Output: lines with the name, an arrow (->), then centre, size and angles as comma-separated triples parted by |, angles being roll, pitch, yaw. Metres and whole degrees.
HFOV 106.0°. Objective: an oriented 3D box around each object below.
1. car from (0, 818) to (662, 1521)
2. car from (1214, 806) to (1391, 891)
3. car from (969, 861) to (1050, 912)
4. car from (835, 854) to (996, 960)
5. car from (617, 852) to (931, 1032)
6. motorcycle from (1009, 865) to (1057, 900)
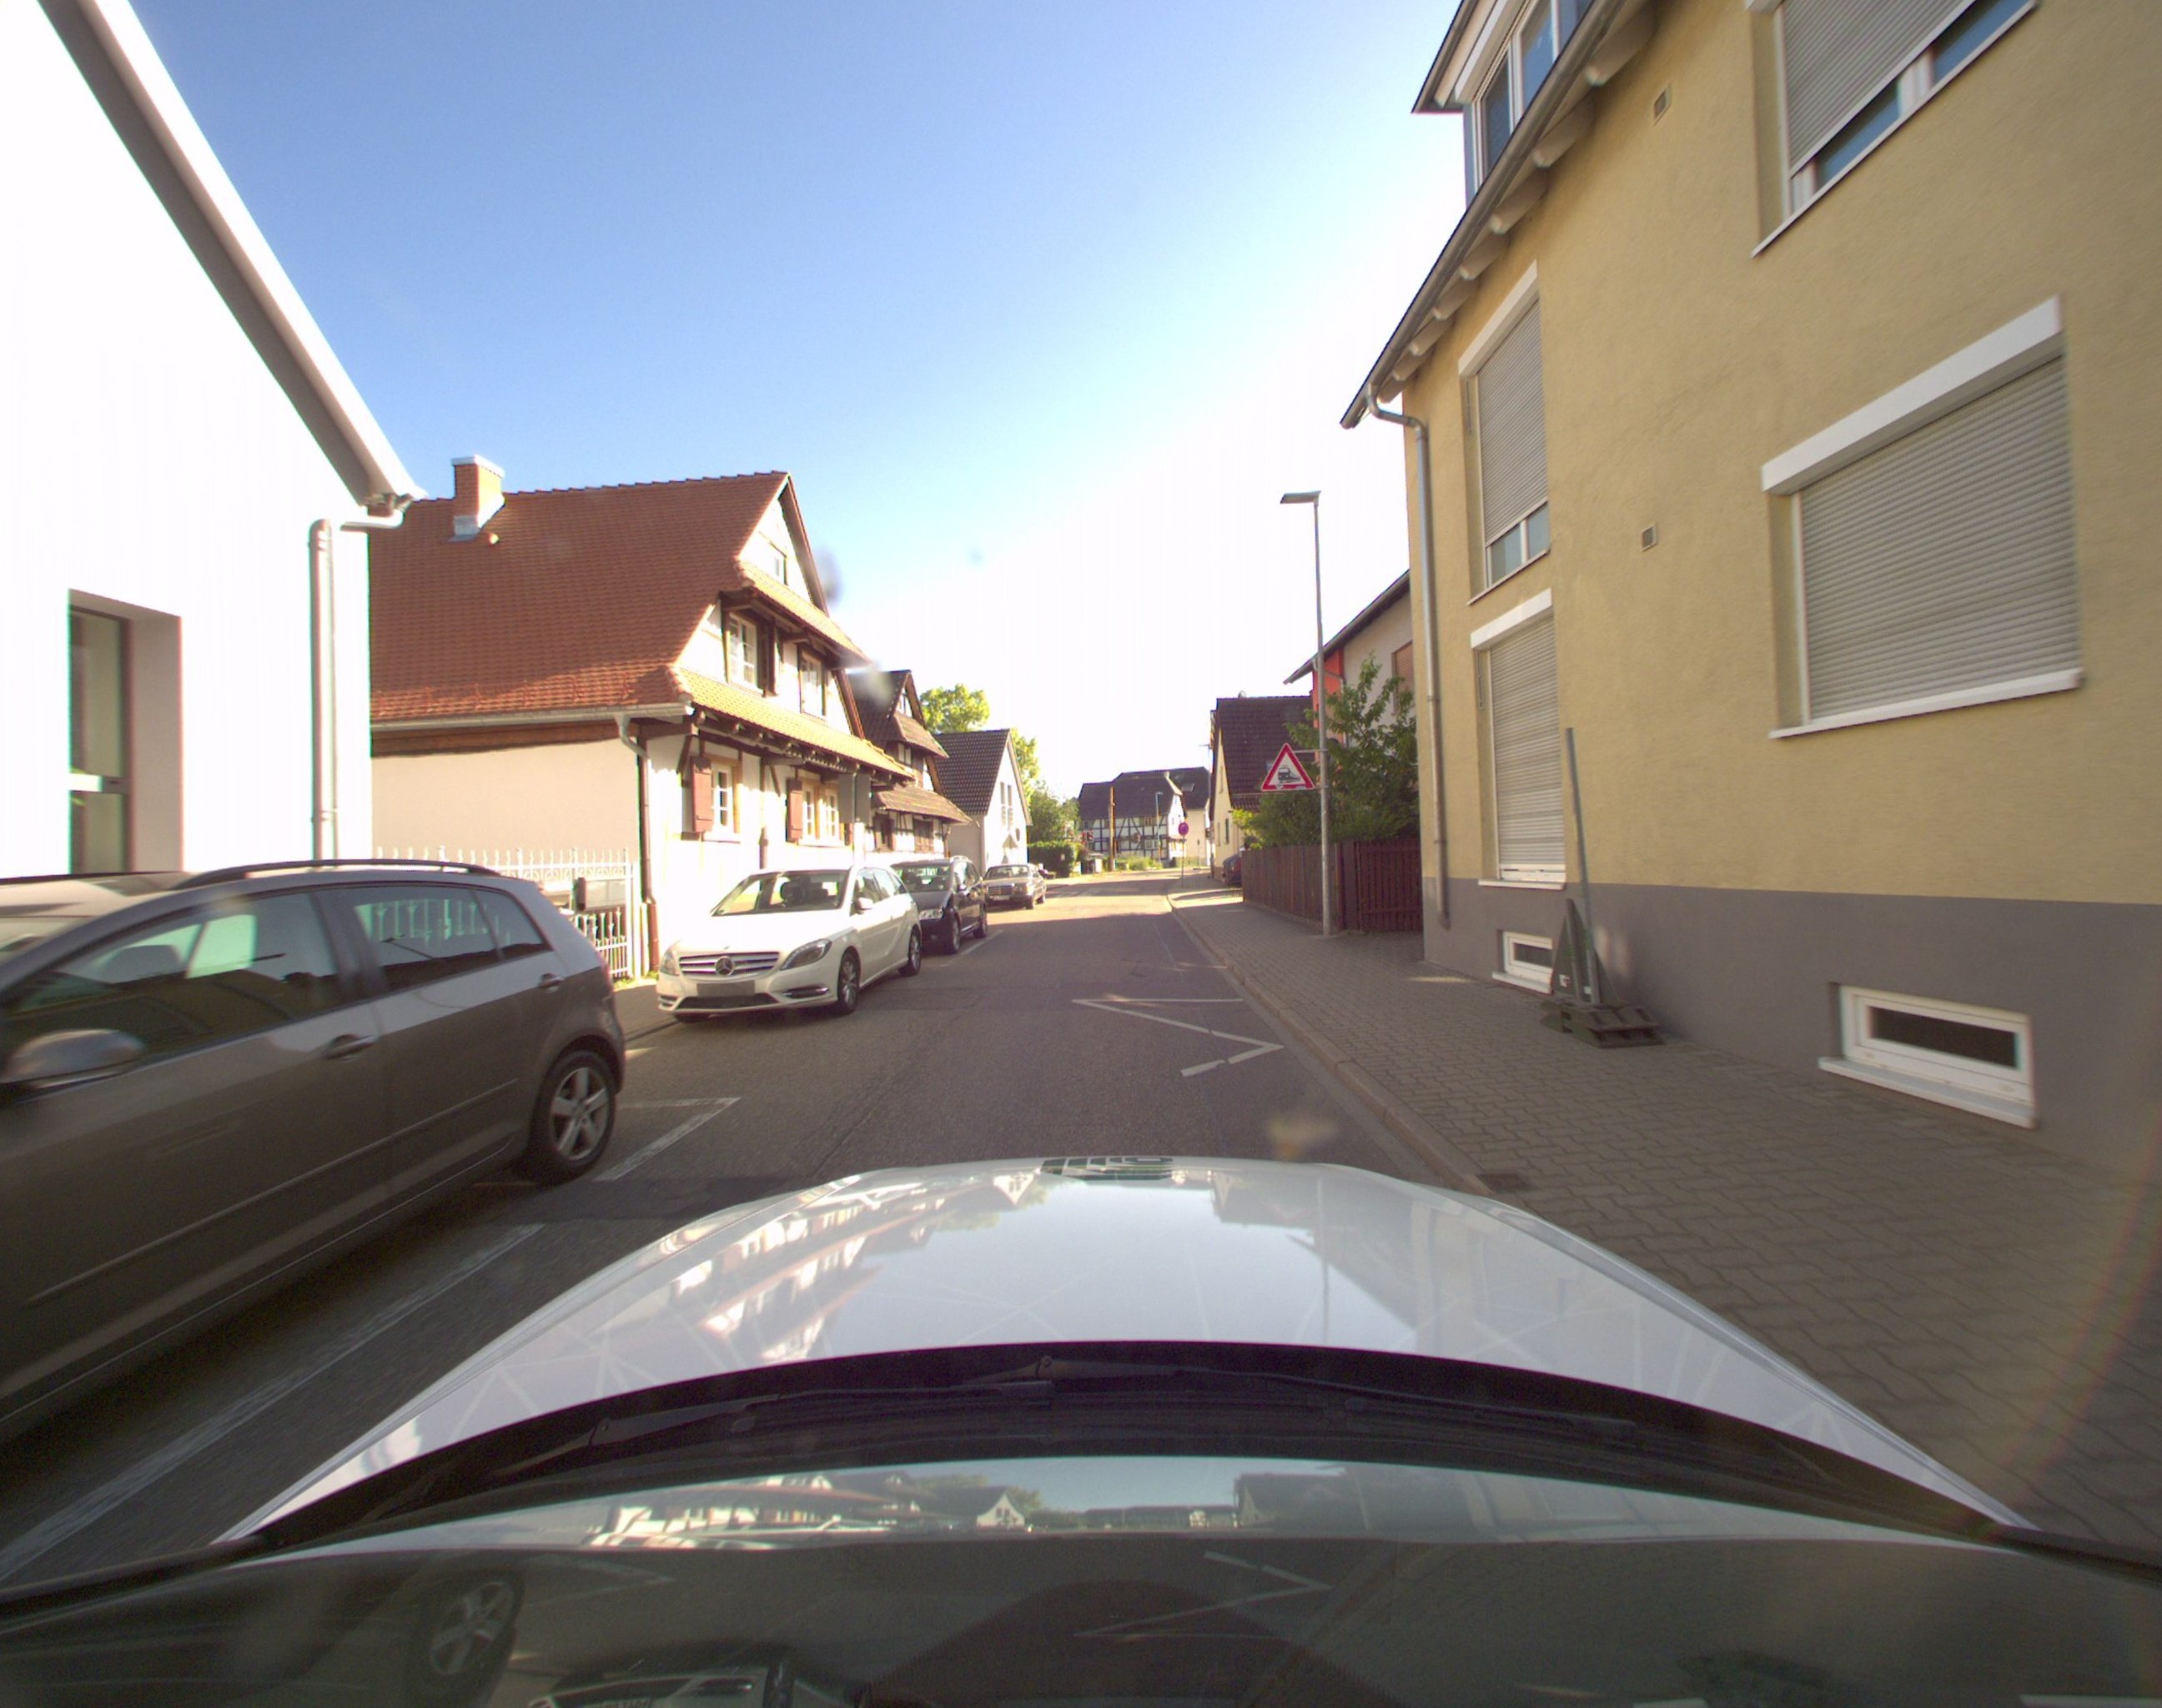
car -> -3.360, 0.767, 2.750 | 1.736, 1.614, 4.000 | -2, -1, 1
car -> 7.954, -0.162, 29.674 | 5.786, 2.655, 1.967 | -4, -2, -1
car -> -2.192, 0.991, 26.471 | 1.837, 1.406, 5.041 | -3, -1, 3
car -> -2.827, 0.852, 14.937 | 1.776, 1.605, 4.365 | -2, -1, 3
car -> -3.167, 0.825, 9.444 | 1.808, 1.567, 4.171 | -2, -1, 3
motorcycle -> -1.793, 1.068, 30.156 | 0.630, 1.231, 1.970 | -2, 0, -43
